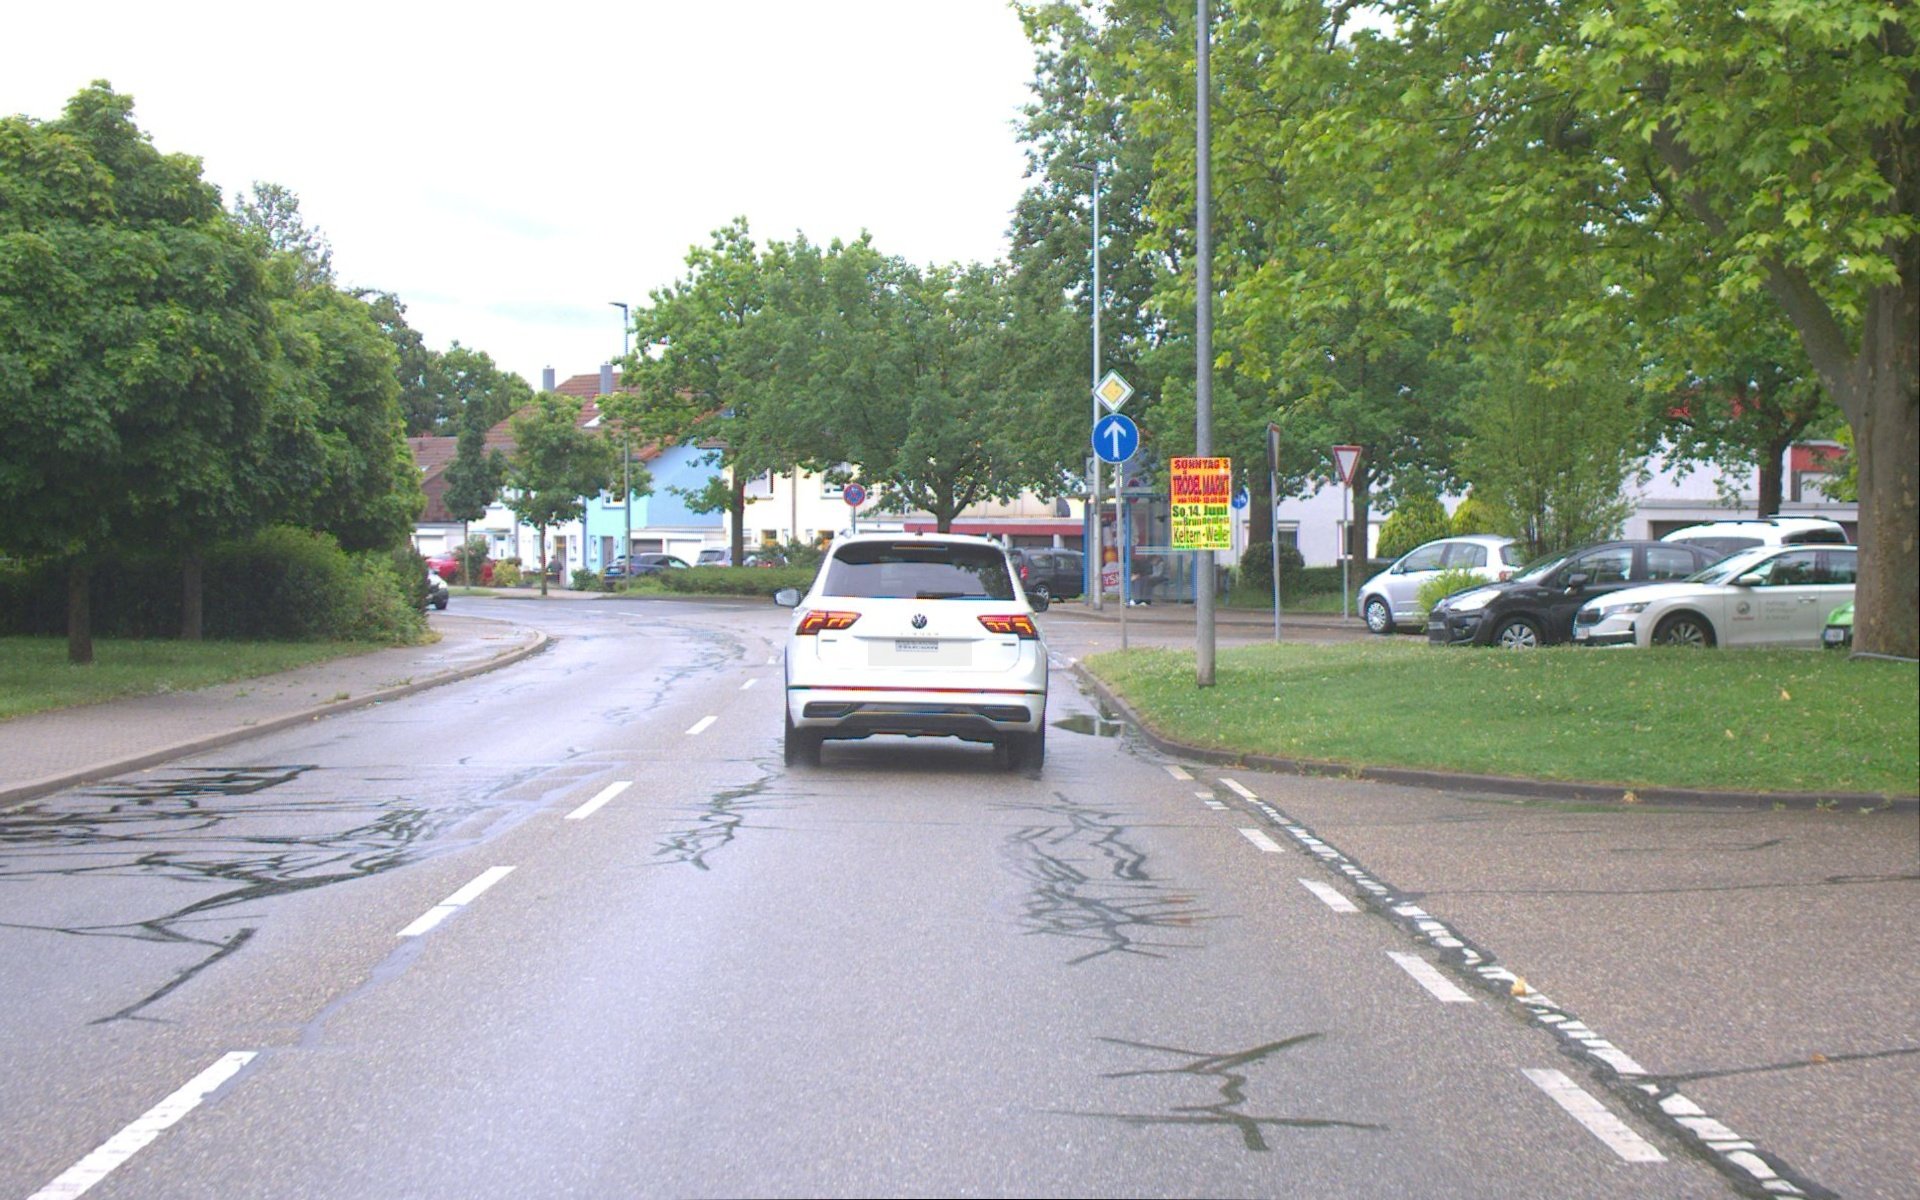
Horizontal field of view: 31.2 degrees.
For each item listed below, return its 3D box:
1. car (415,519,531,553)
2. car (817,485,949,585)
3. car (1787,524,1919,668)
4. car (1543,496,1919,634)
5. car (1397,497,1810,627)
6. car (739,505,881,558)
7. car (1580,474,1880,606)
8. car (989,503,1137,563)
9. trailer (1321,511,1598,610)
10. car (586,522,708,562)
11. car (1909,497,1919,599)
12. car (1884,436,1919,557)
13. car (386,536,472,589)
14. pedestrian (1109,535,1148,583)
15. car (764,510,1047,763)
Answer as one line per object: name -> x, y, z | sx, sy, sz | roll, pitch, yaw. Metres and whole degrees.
car -> -18.966, -2.499, 133.918 | 1.678, 1.256, 4.306 | 2, 2, 45
car -> -1.286, -1.073, 55.911 | 1.768, 1.546, 4.001 | -1, 2, -7
car -> 10.969, -0.091, 36.215 | 4.009, 1.438, 1.765 | -1, 2, -6
car -> 9.091, -0.418, 38.947 | 4.572, 1.438, 1.765 | -1, 2, -6
car -> 7.722, -0.477, 41.465 | 4.572, 1.438, 1.765 | -1, 2, -6
car -> -4.888, -2.258, 112.144 | 4.180, 1.666, 1.991 | -1, 2, -34
car -> 11.386, -0.909, 51.092 | 1.993, 1.874, 4.213 | -1, 2, -31
car -> 3.030, -1.988, 100.945 | 3.988, 1.715, 1.924 | -2, 2, -37
trailer -> 8.114, -0.671, 56.196 | 1.994, 1.537, 4.426 | -2, 2, -34
car -> -10.979, -2.052, 120.690 | 3.988, 1.382, 1.674 | -1, 2, -39
car -> 14.779, -0.684, 45.330 | 1.760, 1.378, 4.186 | -1, 2, -36
car -> 18.721, -1.788, 57.832 | 5.818, 2.006, 2.001 | -1, 2, -11
car -> -14.933, -1.065, 96.533 | 1.740, 1.410, 4.144 | -1, 2, -18
pedestrian -> 3.591, -0.872, 73.302 | 0.748, 1.008, 0.551 | 0, 1, -9
car -> -0.373, 0.191, 24.950 | 1.865, 1.645, 4.000 | -1, 2, 0
